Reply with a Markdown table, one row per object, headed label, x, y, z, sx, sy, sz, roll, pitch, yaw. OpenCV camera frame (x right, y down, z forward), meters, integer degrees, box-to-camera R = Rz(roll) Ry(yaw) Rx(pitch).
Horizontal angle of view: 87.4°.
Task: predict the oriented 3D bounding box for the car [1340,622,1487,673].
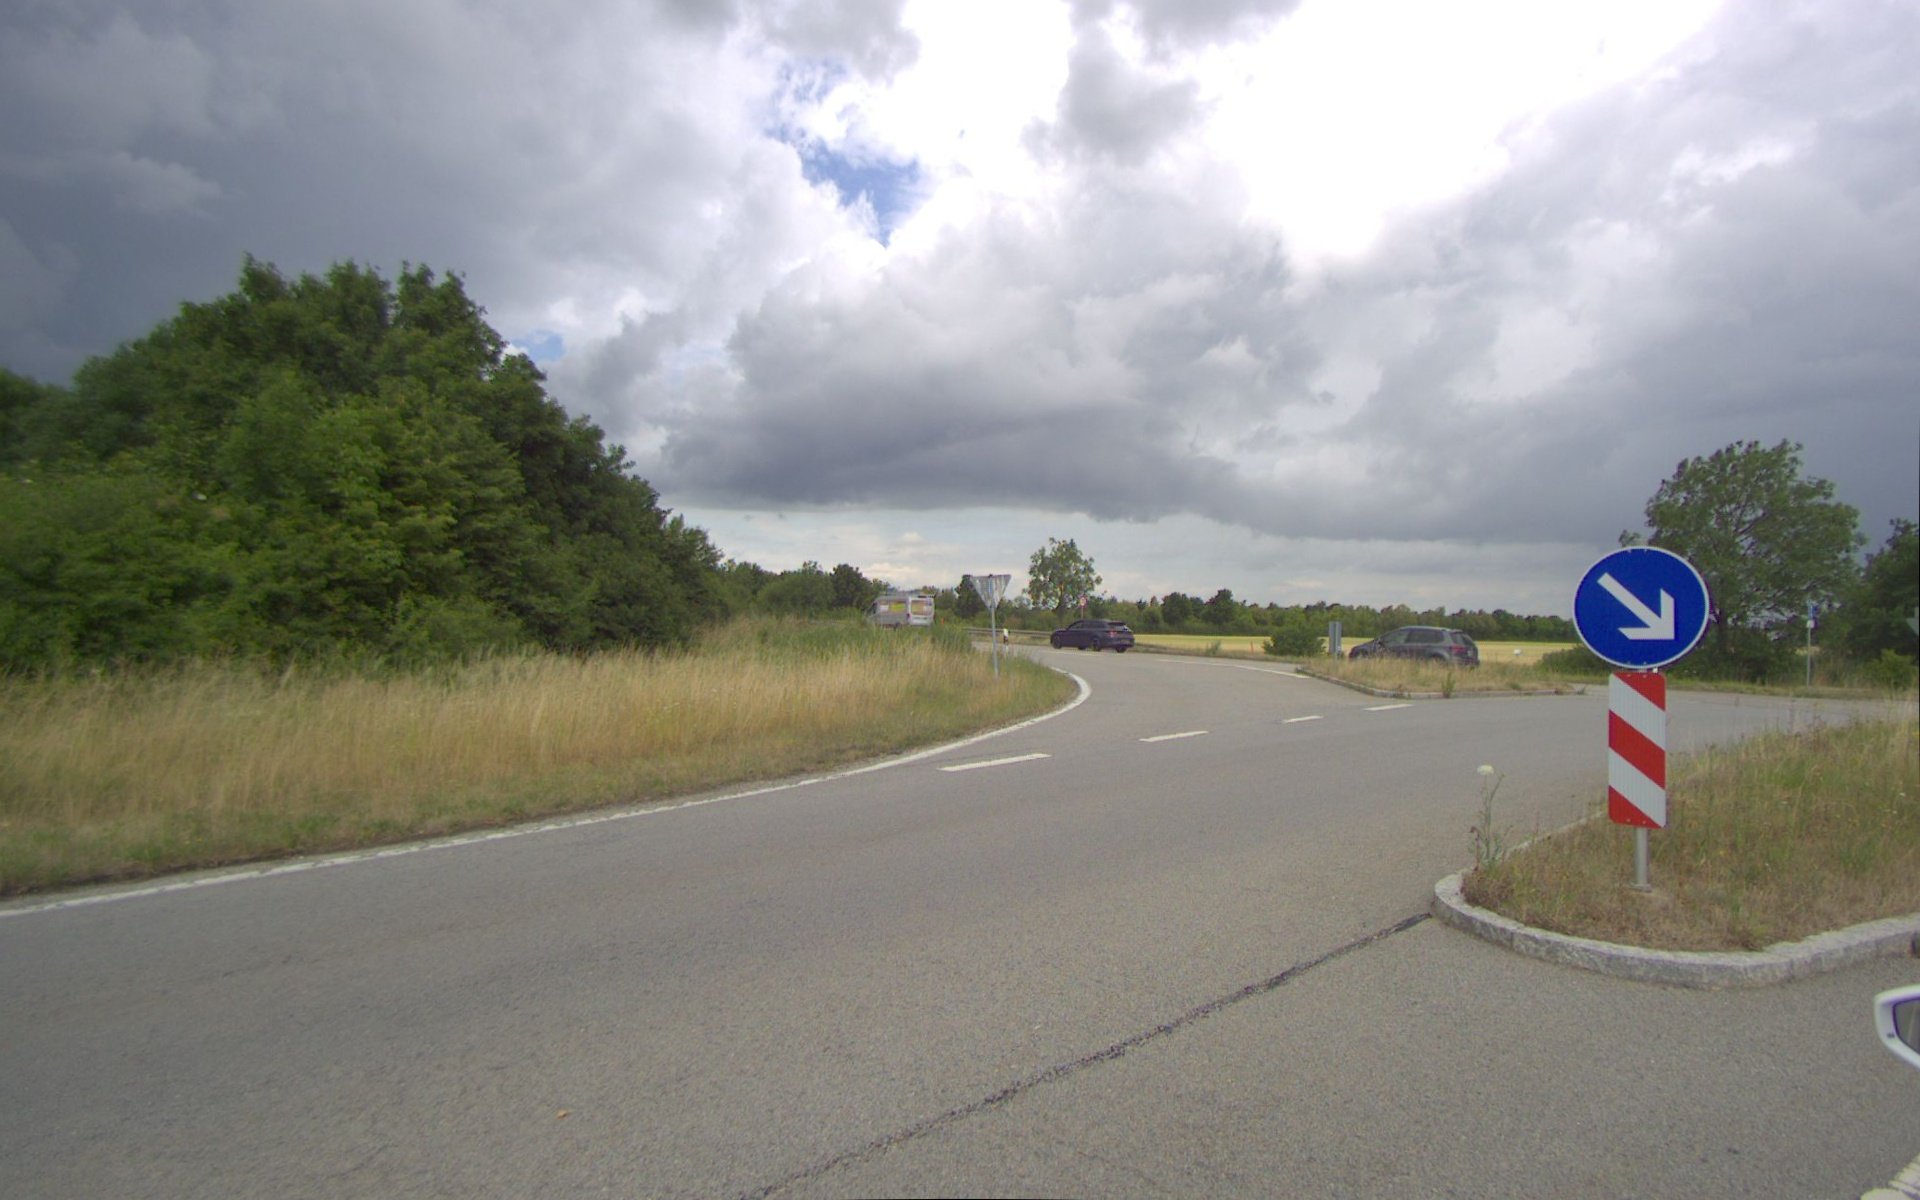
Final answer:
| label | x | y | z | sx | sy | sz | roll | pitch | yaw |
| --- | --- | --- | --- | --- | --- | --- | --- | --- | --- |
| car | 15.499 | 1.595 | 34.491 | 1.982 | 1.622 | 4.180 | 1 | -2 | -37 |

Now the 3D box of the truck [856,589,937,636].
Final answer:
| label | x | y | z | sx | sy | sz | roll | pitch | yaw |
| --- | --- | --- | --- | --- | --- | --- | --- | --- | --- |
| truck | -3.940 | 0.790 | 61.157 | 2.046 | 2.739 | 5.983 | 1 | -1 | -36 |

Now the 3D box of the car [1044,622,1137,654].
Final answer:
| label | x | y | z | sx | sy | sz | roll | pitch | yaw |
| --- | --- | --- | --- | --- | --- | --- | --- | --- | --- |
| car | 5.859 | 1.705 | 45.579 | 1.666 | 1.362 | 4.311 | 1 | -1 | -36 |
